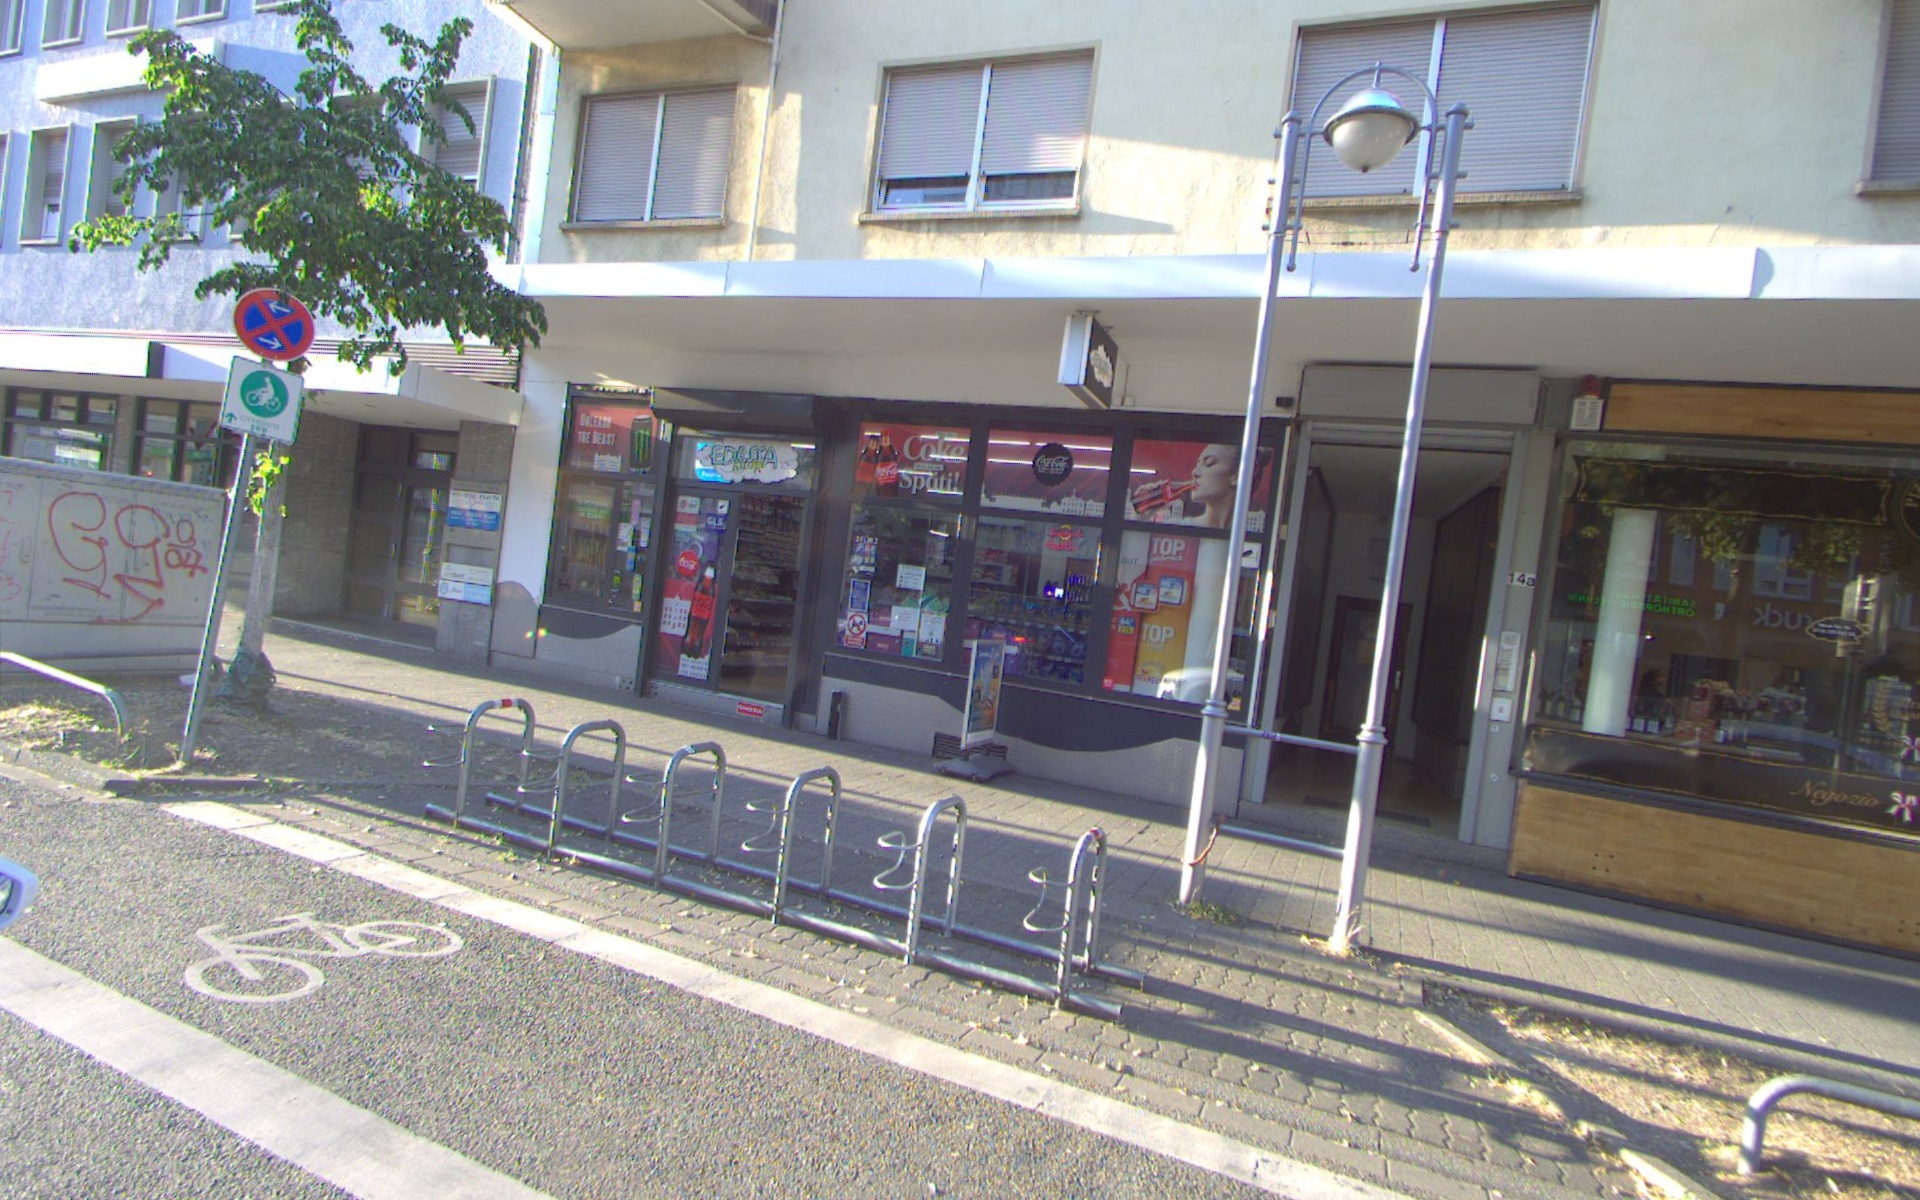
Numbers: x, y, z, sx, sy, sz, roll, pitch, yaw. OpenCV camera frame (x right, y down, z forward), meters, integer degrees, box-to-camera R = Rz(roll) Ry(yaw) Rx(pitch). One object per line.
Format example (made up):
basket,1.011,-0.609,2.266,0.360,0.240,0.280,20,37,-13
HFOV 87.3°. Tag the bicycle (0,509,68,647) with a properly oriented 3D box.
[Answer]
bicycle,-9.079,-0.251,9.041,0.376,1.234,1.445,7,-1,25
